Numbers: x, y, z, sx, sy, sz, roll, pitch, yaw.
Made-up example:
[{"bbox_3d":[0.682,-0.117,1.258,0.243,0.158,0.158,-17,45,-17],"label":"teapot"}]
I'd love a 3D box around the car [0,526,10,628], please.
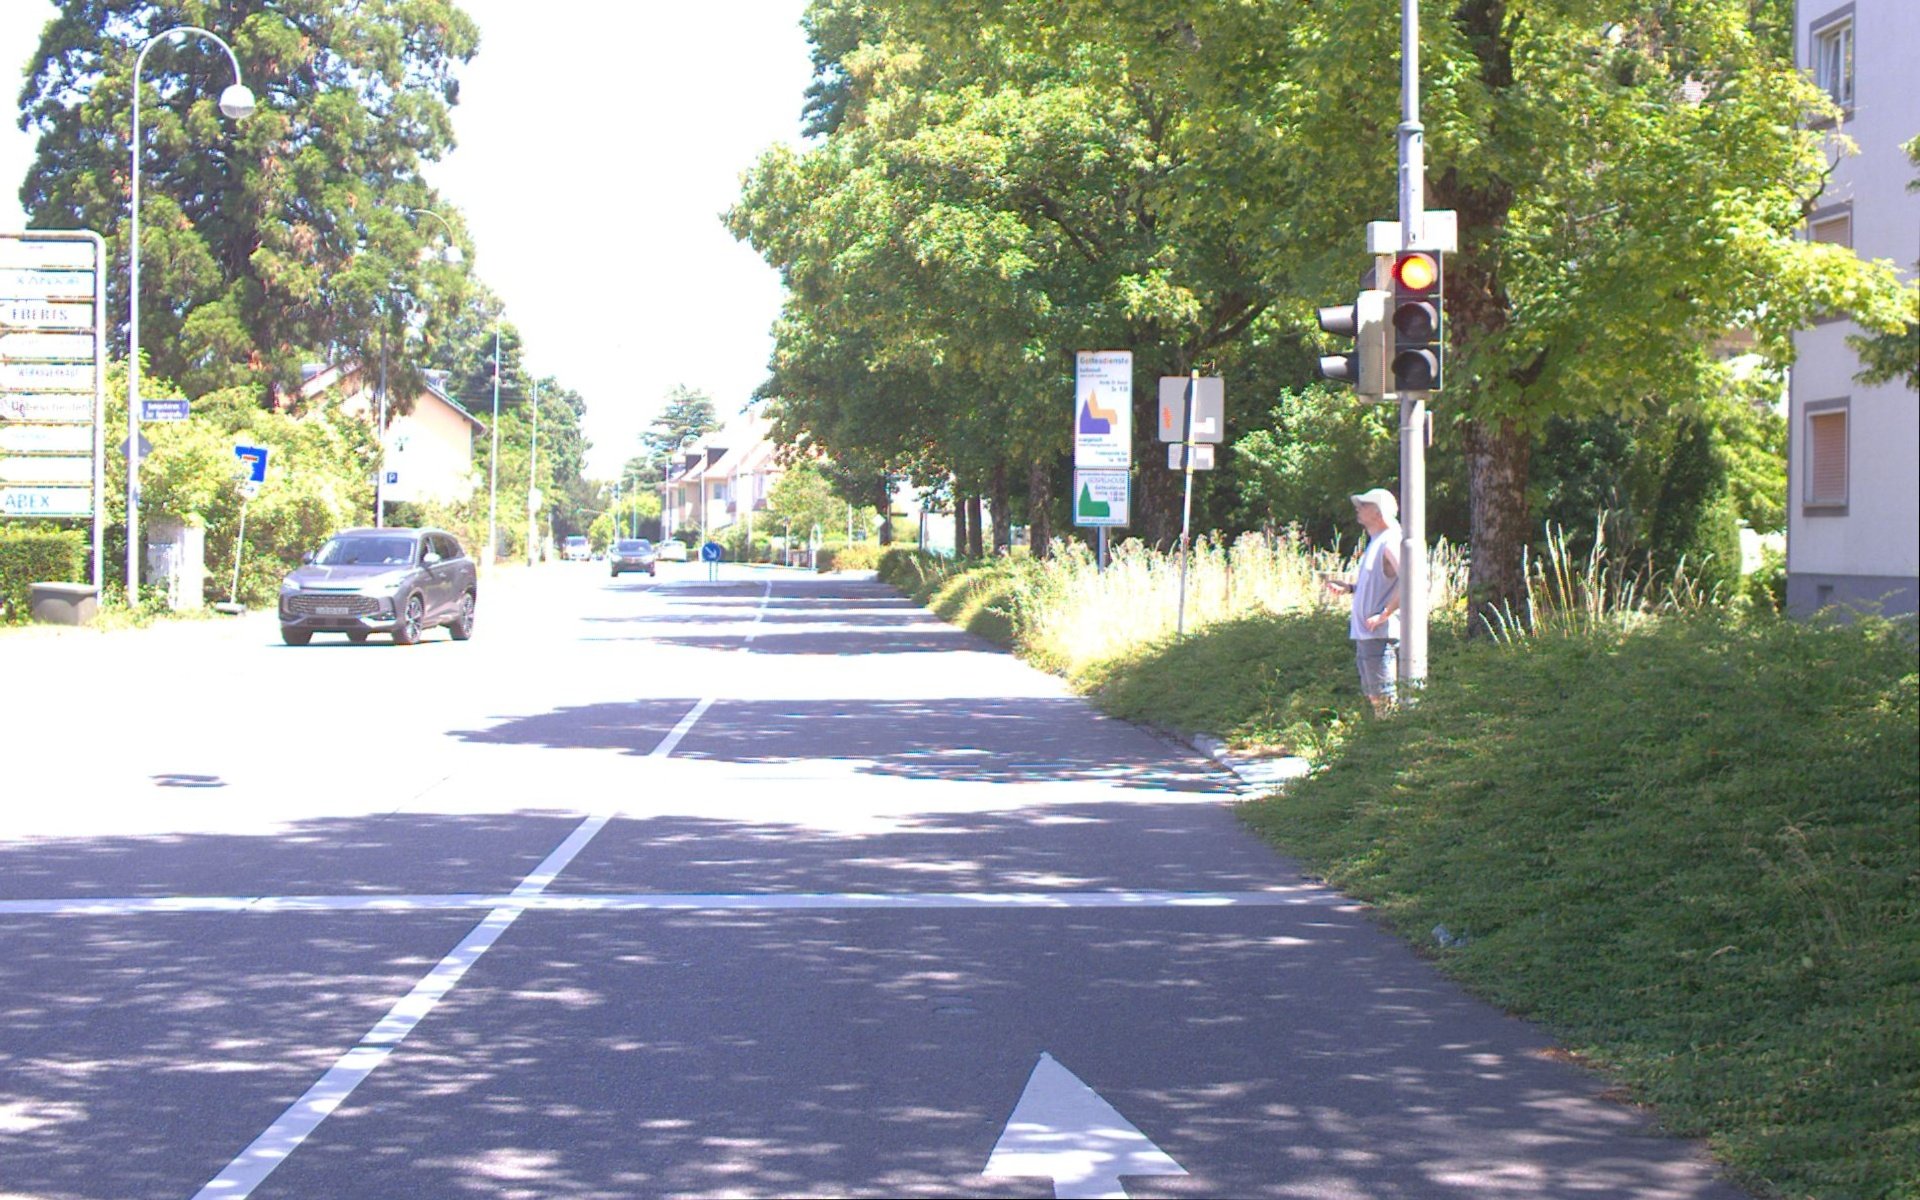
[{"bbox_3d":[-15.105,-0.304,47.711,3.490,1.422,1.601,-1,1,-7],"label":"car"}]

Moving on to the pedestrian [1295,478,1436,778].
[{"bbox_3d":[2.401,0.159,20.380,0.560,1.745,0.615,0,0,-27],"label":"pedestrian"}]

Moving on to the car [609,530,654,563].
[{"bbox_3d":[-13.072,-2.121,136.870,1.431,1.318,3.355,1,1,0],"label":"car"}]

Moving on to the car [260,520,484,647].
[{"bbox_3d":[-8.355,-0.263,49.204,1.880,1.712,4.308,1,1,9],"label":"car"}]
